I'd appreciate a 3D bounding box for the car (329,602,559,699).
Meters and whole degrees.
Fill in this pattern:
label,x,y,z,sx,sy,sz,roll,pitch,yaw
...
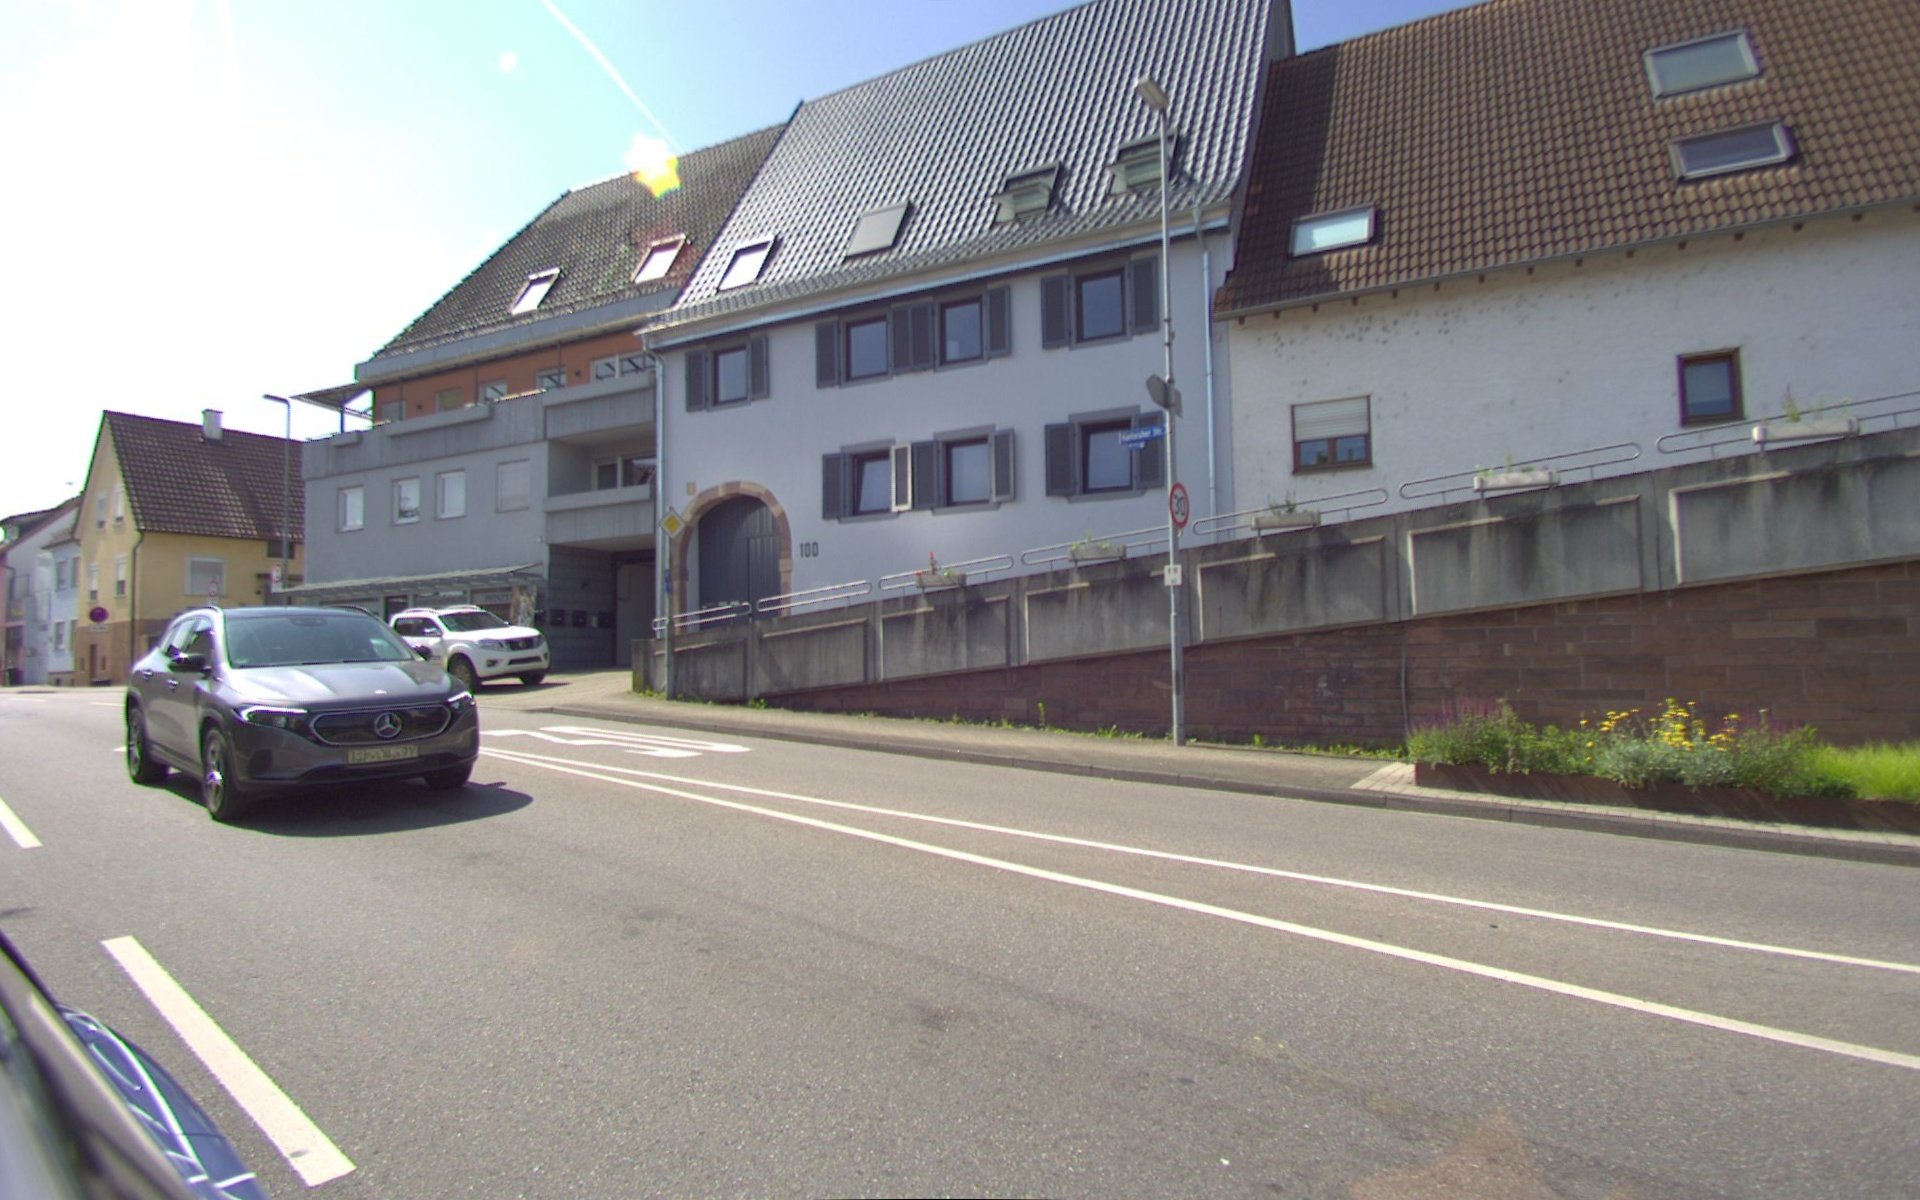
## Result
label,x,y,z,sx,sy,sz,roll,pitch,yaw
car,-11.379,1.100,22.204,5.263,1.811,1.793,-3,3,30

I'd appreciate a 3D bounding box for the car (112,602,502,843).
label,x,y,z,sx,sy,sz,roll,pitch,yaw
car,-5.774,0.848,8.716,4.288,1.585,1.715,-2,-1,41
